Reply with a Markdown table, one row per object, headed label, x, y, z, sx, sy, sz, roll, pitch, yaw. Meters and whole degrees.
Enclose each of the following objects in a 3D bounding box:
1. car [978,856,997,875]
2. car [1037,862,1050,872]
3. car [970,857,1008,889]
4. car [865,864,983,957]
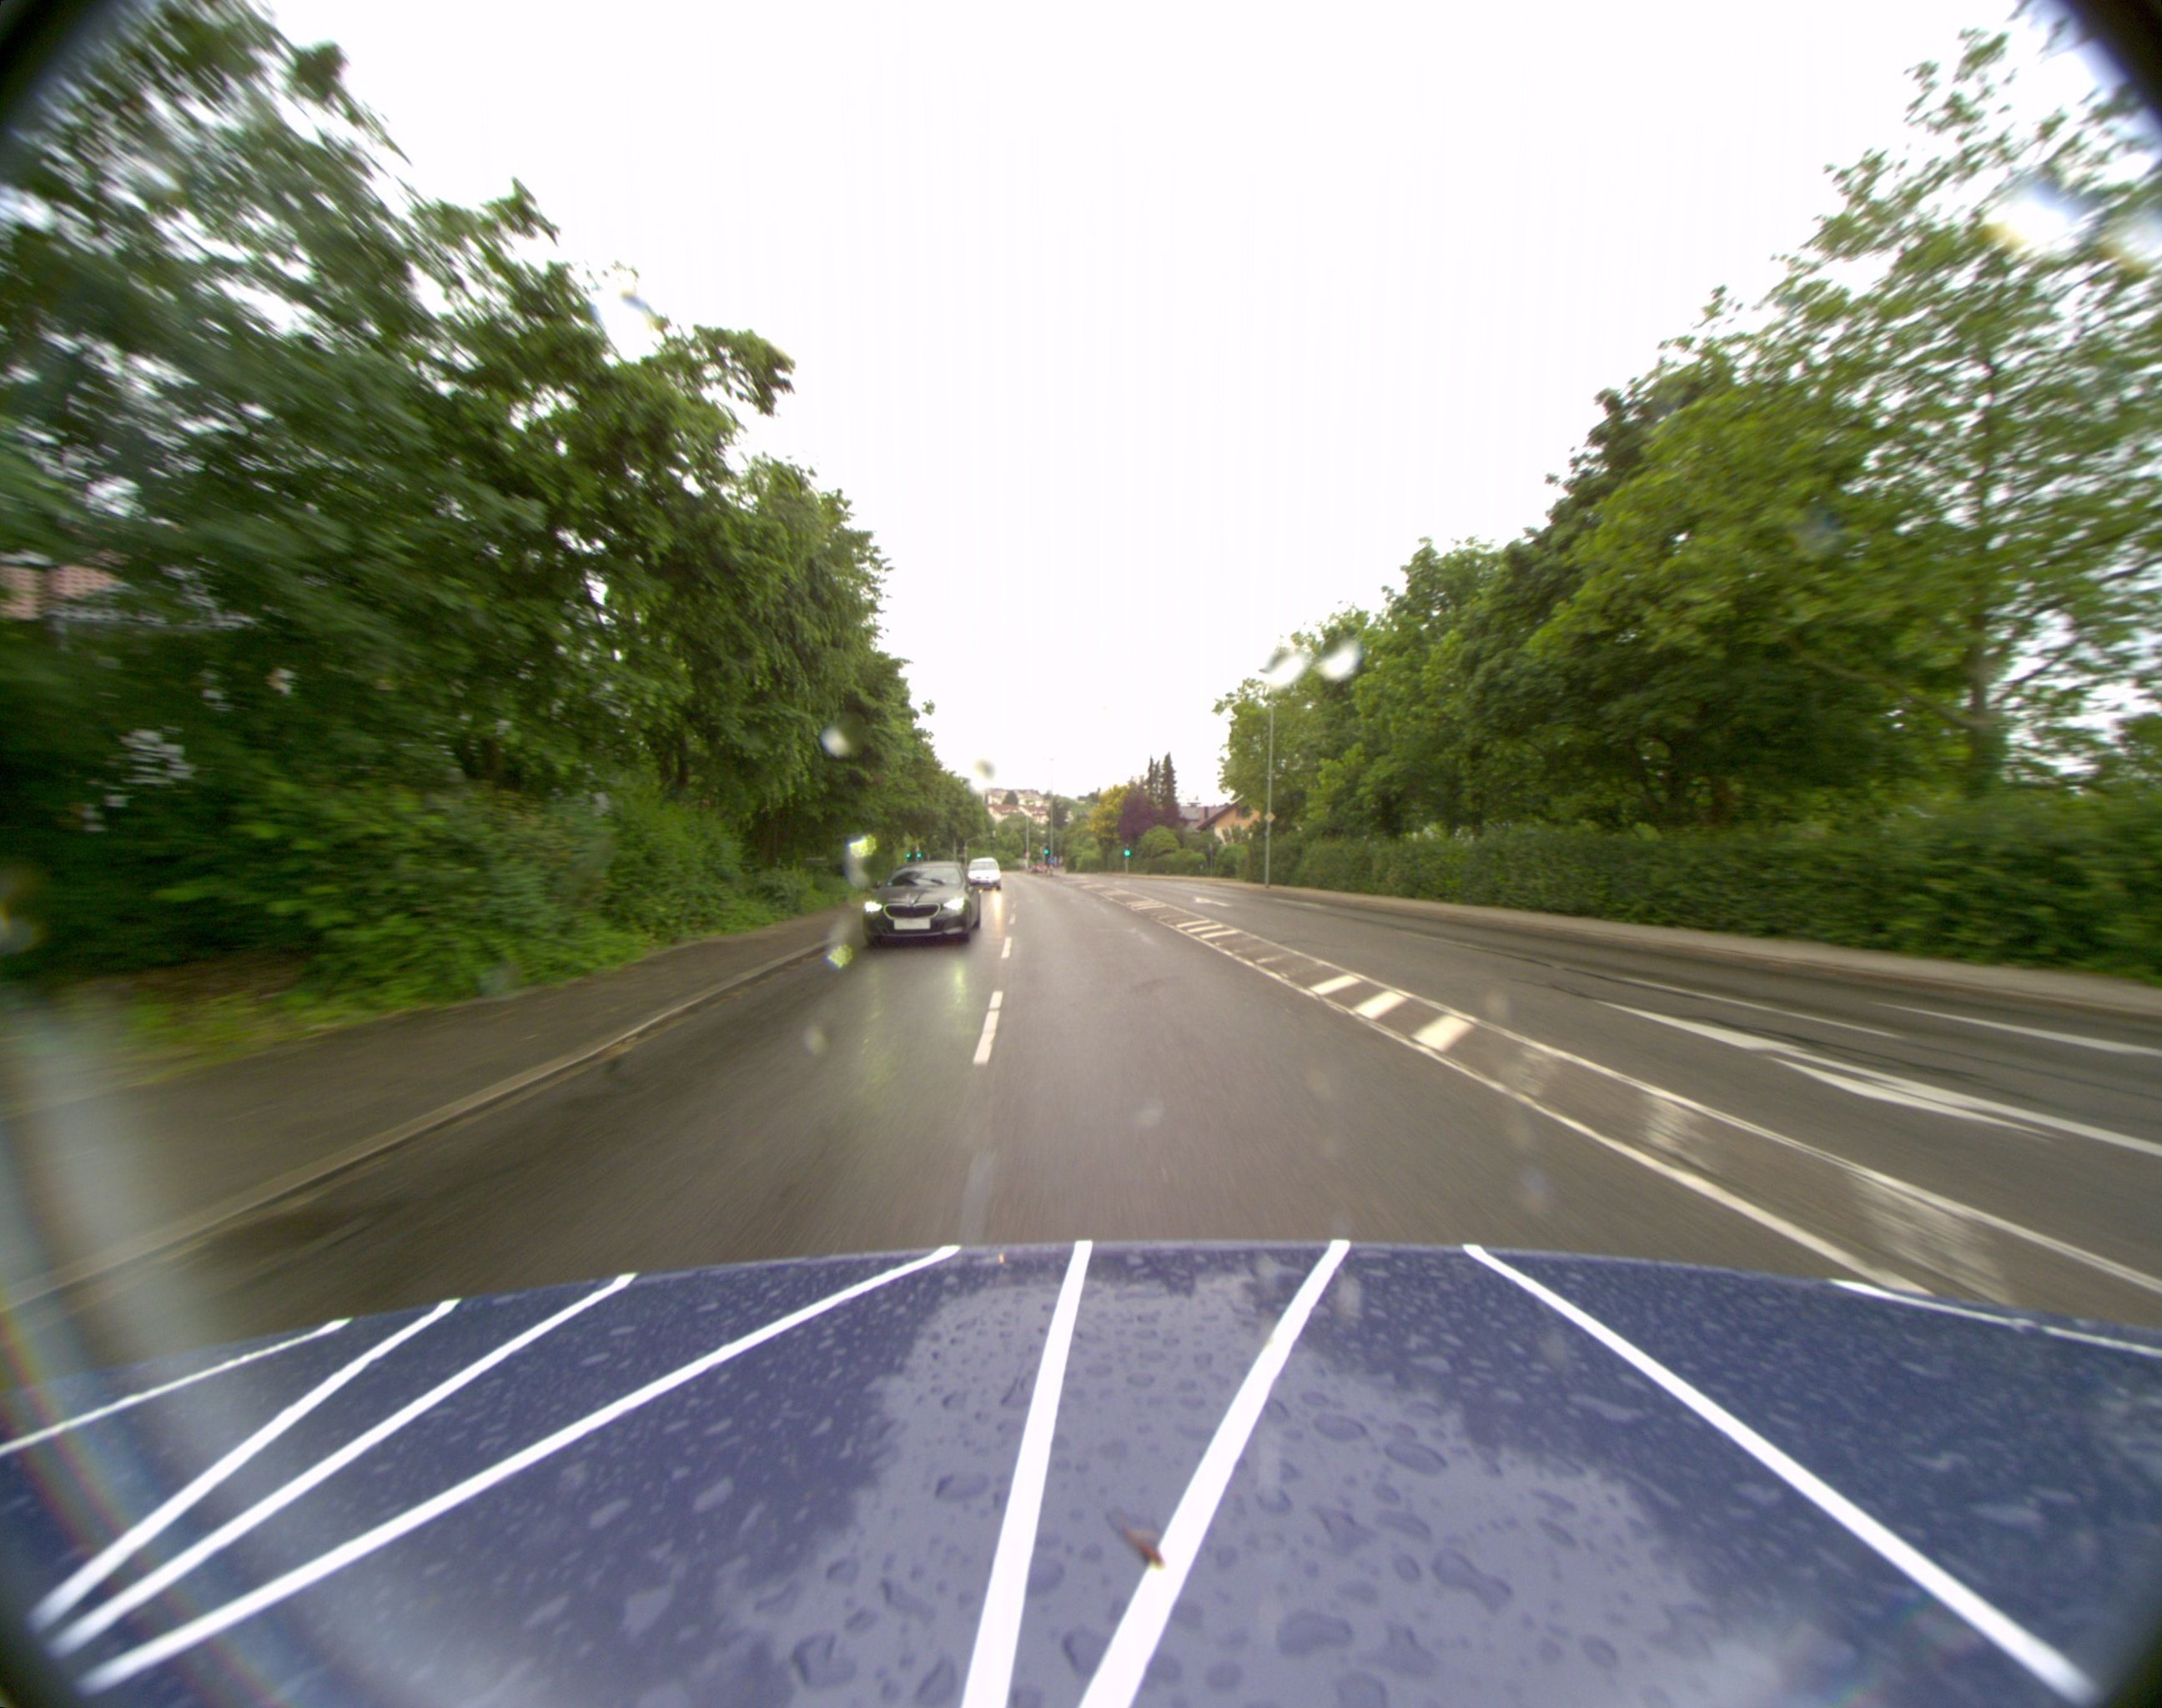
| label | x | y | z | sx | sy | sz | roll | pitch | yaw |
| --- | --- | --- | --- | --- | --- | --- | --- | --- | --- |
| car | -9.200 | 1.109 | 74.579 | 1.816 | 1.797 | 4.117 | 1 | -1 | -8 |
| car | -6.011 | 2.081 | 122.097 | 1.801 | 1.593 | 3.729 | 1 | -1 | -7 |
| car | -4.605 | 0.930 | 38.576 | 1.815 | 1.546 | 4.118 | 1 | -1 | -5 |
| car | -2.967 | 1.011 | 15.161 | 1.868 | 1.546 | 4.117 | 1 | 0 | -5 |
